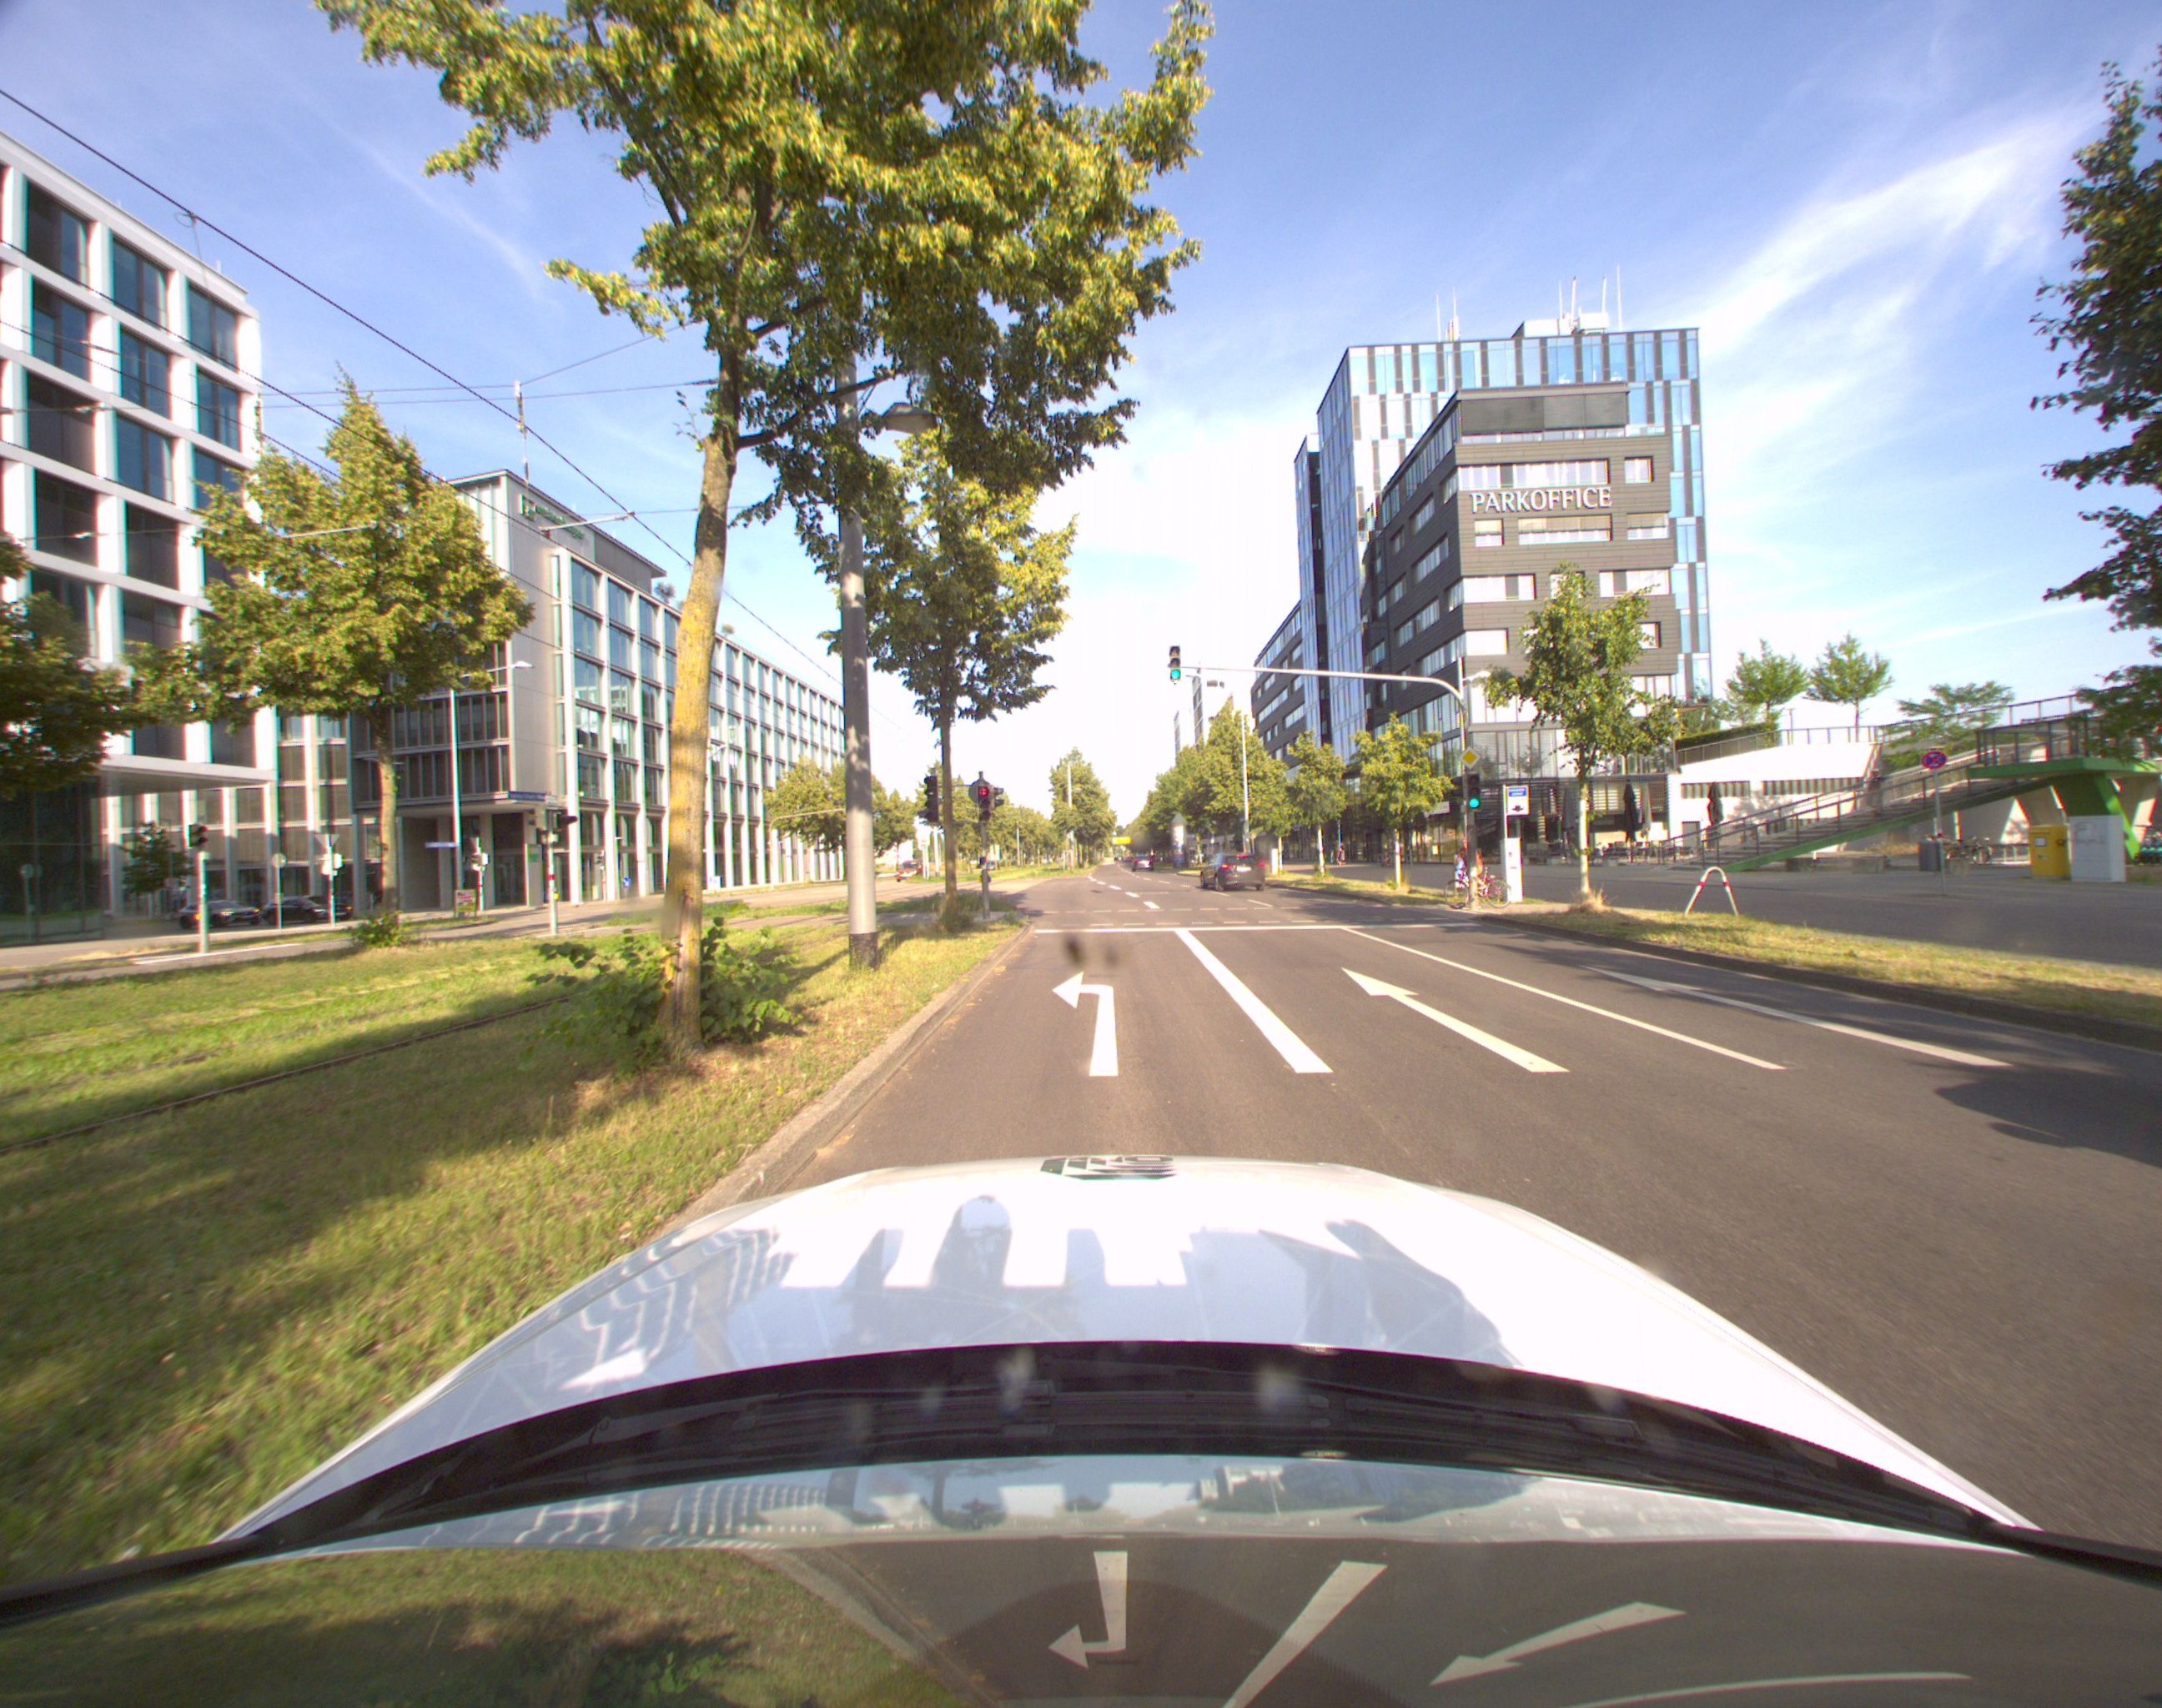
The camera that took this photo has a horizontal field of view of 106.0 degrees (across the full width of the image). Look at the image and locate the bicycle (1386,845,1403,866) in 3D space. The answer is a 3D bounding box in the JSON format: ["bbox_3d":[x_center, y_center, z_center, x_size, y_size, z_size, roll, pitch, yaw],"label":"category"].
[{"bbox_3d":[20.270,0.092,52.681,0.371,1.346,1.895,-1,-1,3],"label":"bicycle"}]

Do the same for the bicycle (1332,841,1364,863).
[{"bbox_3d":[21.529,-0.146,65.740,2.419,1.746,0.556,-1,-1,11],"label":"bicycle"}]

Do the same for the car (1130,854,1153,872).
[{"bbox_3d":[5.217,0.793,70.976,1.852,1.524,3.787,-1,-1,2],"label":"car"}]

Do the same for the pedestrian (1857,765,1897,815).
[{"bbox_3d":[28.252,-2.264,28.925,0.688,1.692,0.790,-1,-1,15],"label":"pedestrian"}]

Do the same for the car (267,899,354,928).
[{"bbox_3d":[-40.666,3.129,43.021,3.478,1.424,1.580,-1,-1,11],"label":"car"}]

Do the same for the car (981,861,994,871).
[{"bbox_3d":[-13.983,1.739,121.912,1.634,1.443,3.953,0,-1,-2],"label":"car"}]

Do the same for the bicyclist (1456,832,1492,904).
[{"bbox_3d":[9.424,0.335,19.548,0.573,1.707,0.541,0,-1,-1],"label":"bicyclist"}]

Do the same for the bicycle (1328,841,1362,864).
[{"bbox_3d":[21.678,-0.155,66.883,2.548,1.857,0.571,-1,-1,11],"label":"bicycle"}]

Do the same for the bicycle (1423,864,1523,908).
[{"bbox_3d":[9.389,0.750,19.535,2.128,1.013,0.571,0,-1,-2],"label":"bicycle"}]

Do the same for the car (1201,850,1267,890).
[{"bbox_3d":[5.824,0.602,31.384,1.769,1.424,3.959,-1,-1,-1],"label":"car"}]

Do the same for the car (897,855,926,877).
[{"bbox_3d":[-14.154,1.027,68.030,1.679,1.775,3.880,0,-1,-2],"label":"car"}]

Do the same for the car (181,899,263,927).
[{"bbox_3d":[-47.320,3.239,44.853,3.638,1.424,1.582,-1,-1,16],"label":"car"}]
